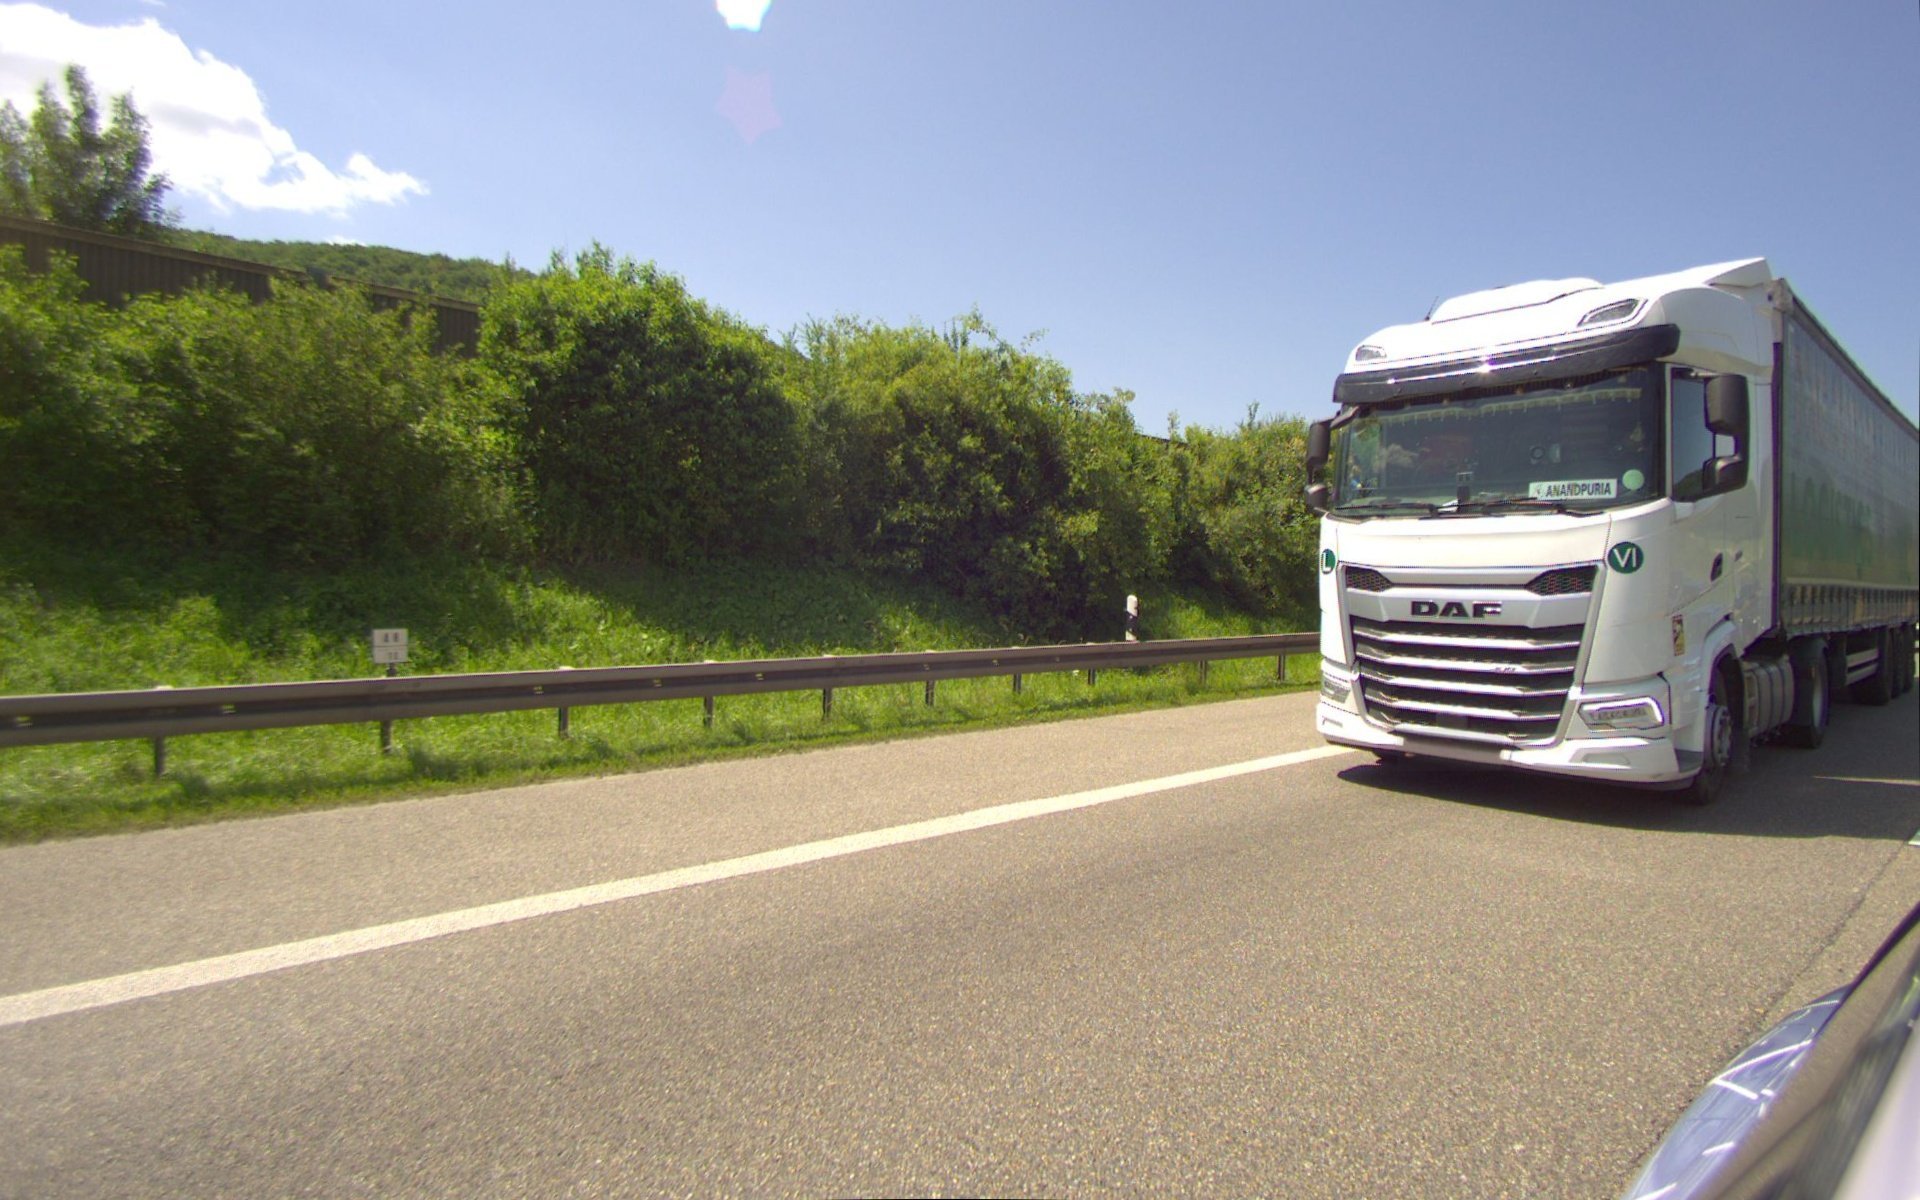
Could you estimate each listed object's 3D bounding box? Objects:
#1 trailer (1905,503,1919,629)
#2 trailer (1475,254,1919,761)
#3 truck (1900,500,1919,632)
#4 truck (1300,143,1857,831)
[{"bbox_3d":[37.282,-1.229,37.376,13.399,4.160,2.540,-1,1,-43],"label":"trailer"},{"bbox_3d":[10.875,-0.815,13.467,13.420,4.027,2.482,-1,1,-42],"label":"trailer"},{"bbox_3d":[32.956,-1.118,33.299,5.978,4.140,2.528,-1,1,-43],"label":"truck"},{"bbox_3d":[5.783,-0.709,8.953,6.271,4.027,2.482,-1,1,-42],"label":"truck"}]
